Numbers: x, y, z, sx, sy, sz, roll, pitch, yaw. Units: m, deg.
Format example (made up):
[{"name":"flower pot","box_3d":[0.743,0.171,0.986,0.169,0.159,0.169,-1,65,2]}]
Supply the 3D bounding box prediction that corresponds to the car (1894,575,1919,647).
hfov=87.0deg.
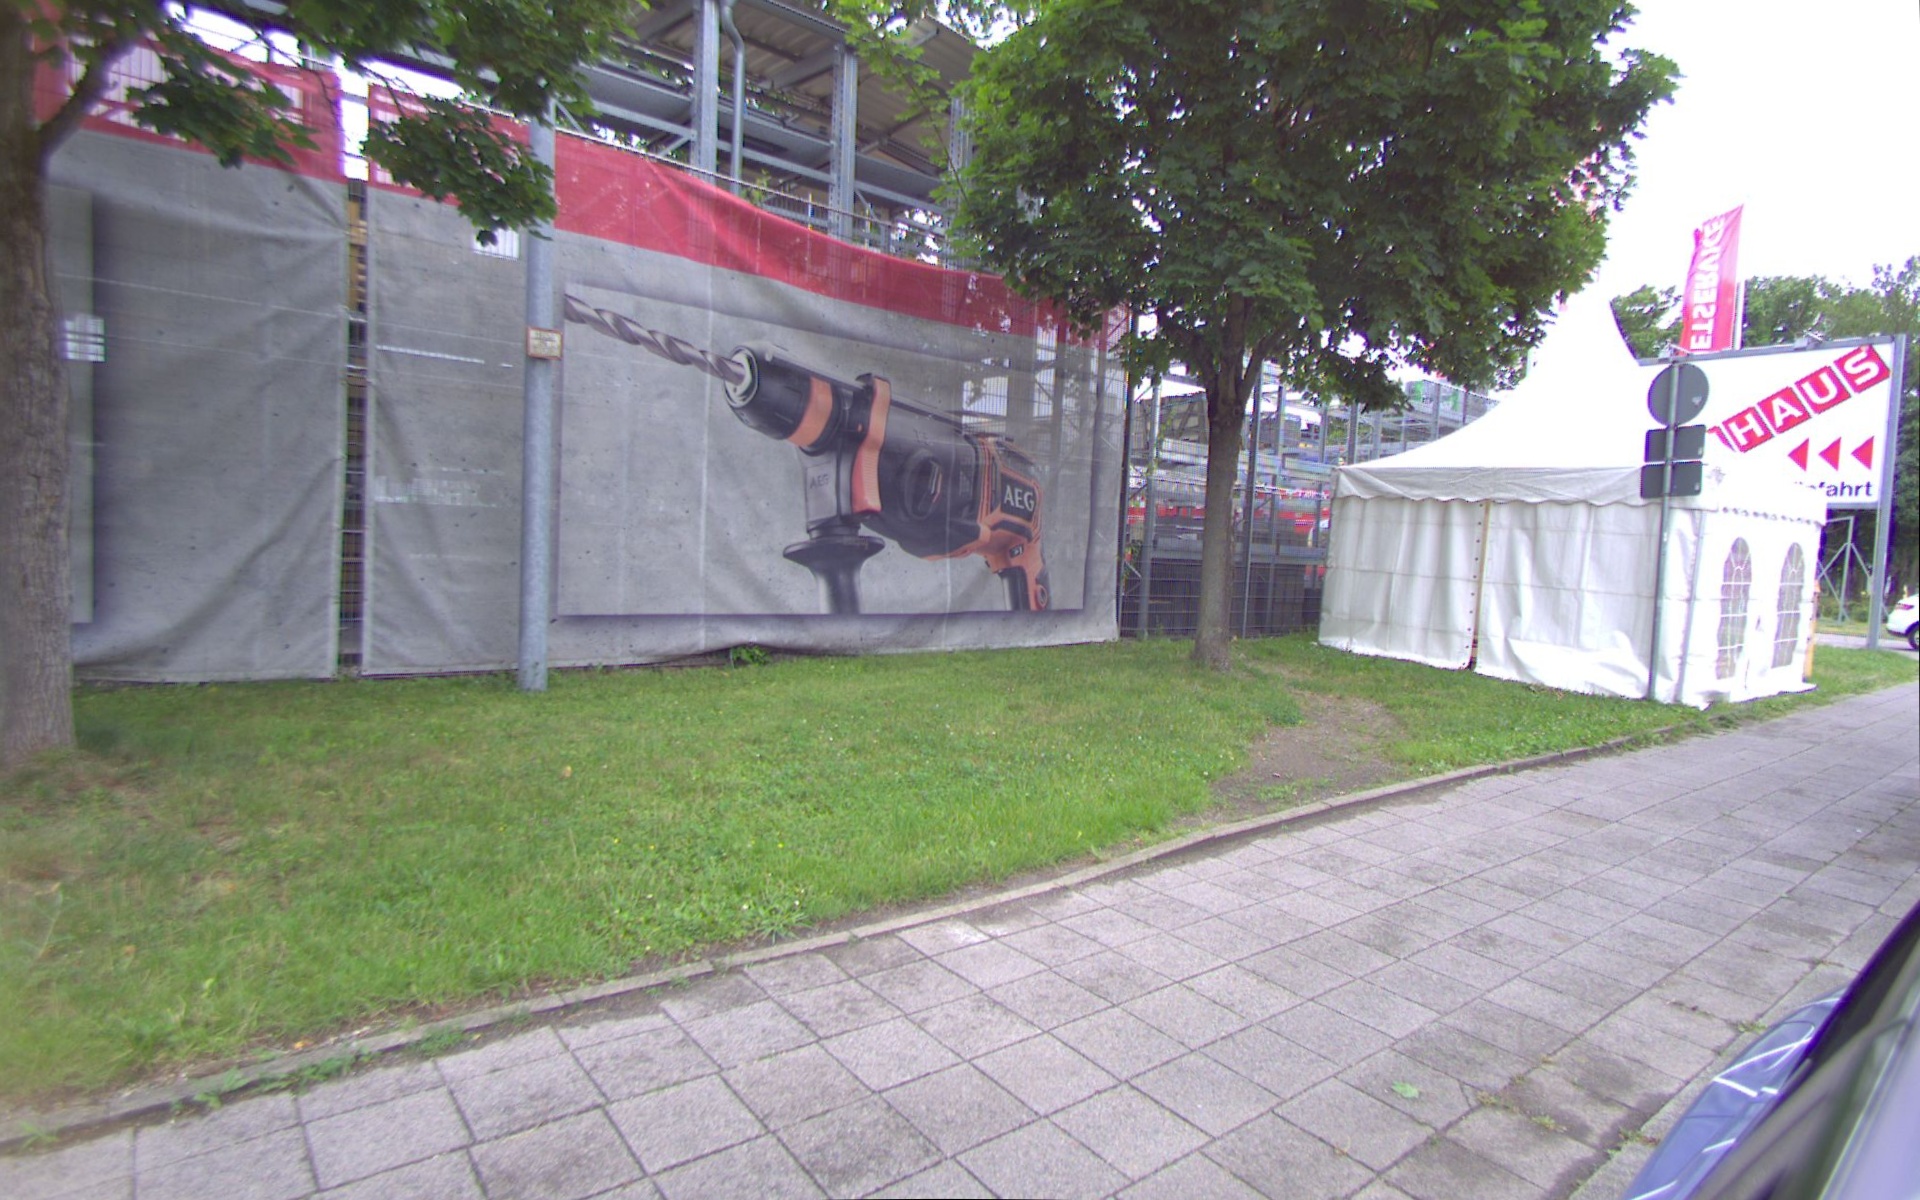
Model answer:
[{"name":"car","box_3d":[21.816,0.322,20.210,1.907,1.445,4.487,-2,5,-43]}]

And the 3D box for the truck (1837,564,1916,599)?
[{"name":"truck","box_3d":[69.558,-1.404,76.868,3.926,2.425,2.000,3,3,2]}]
